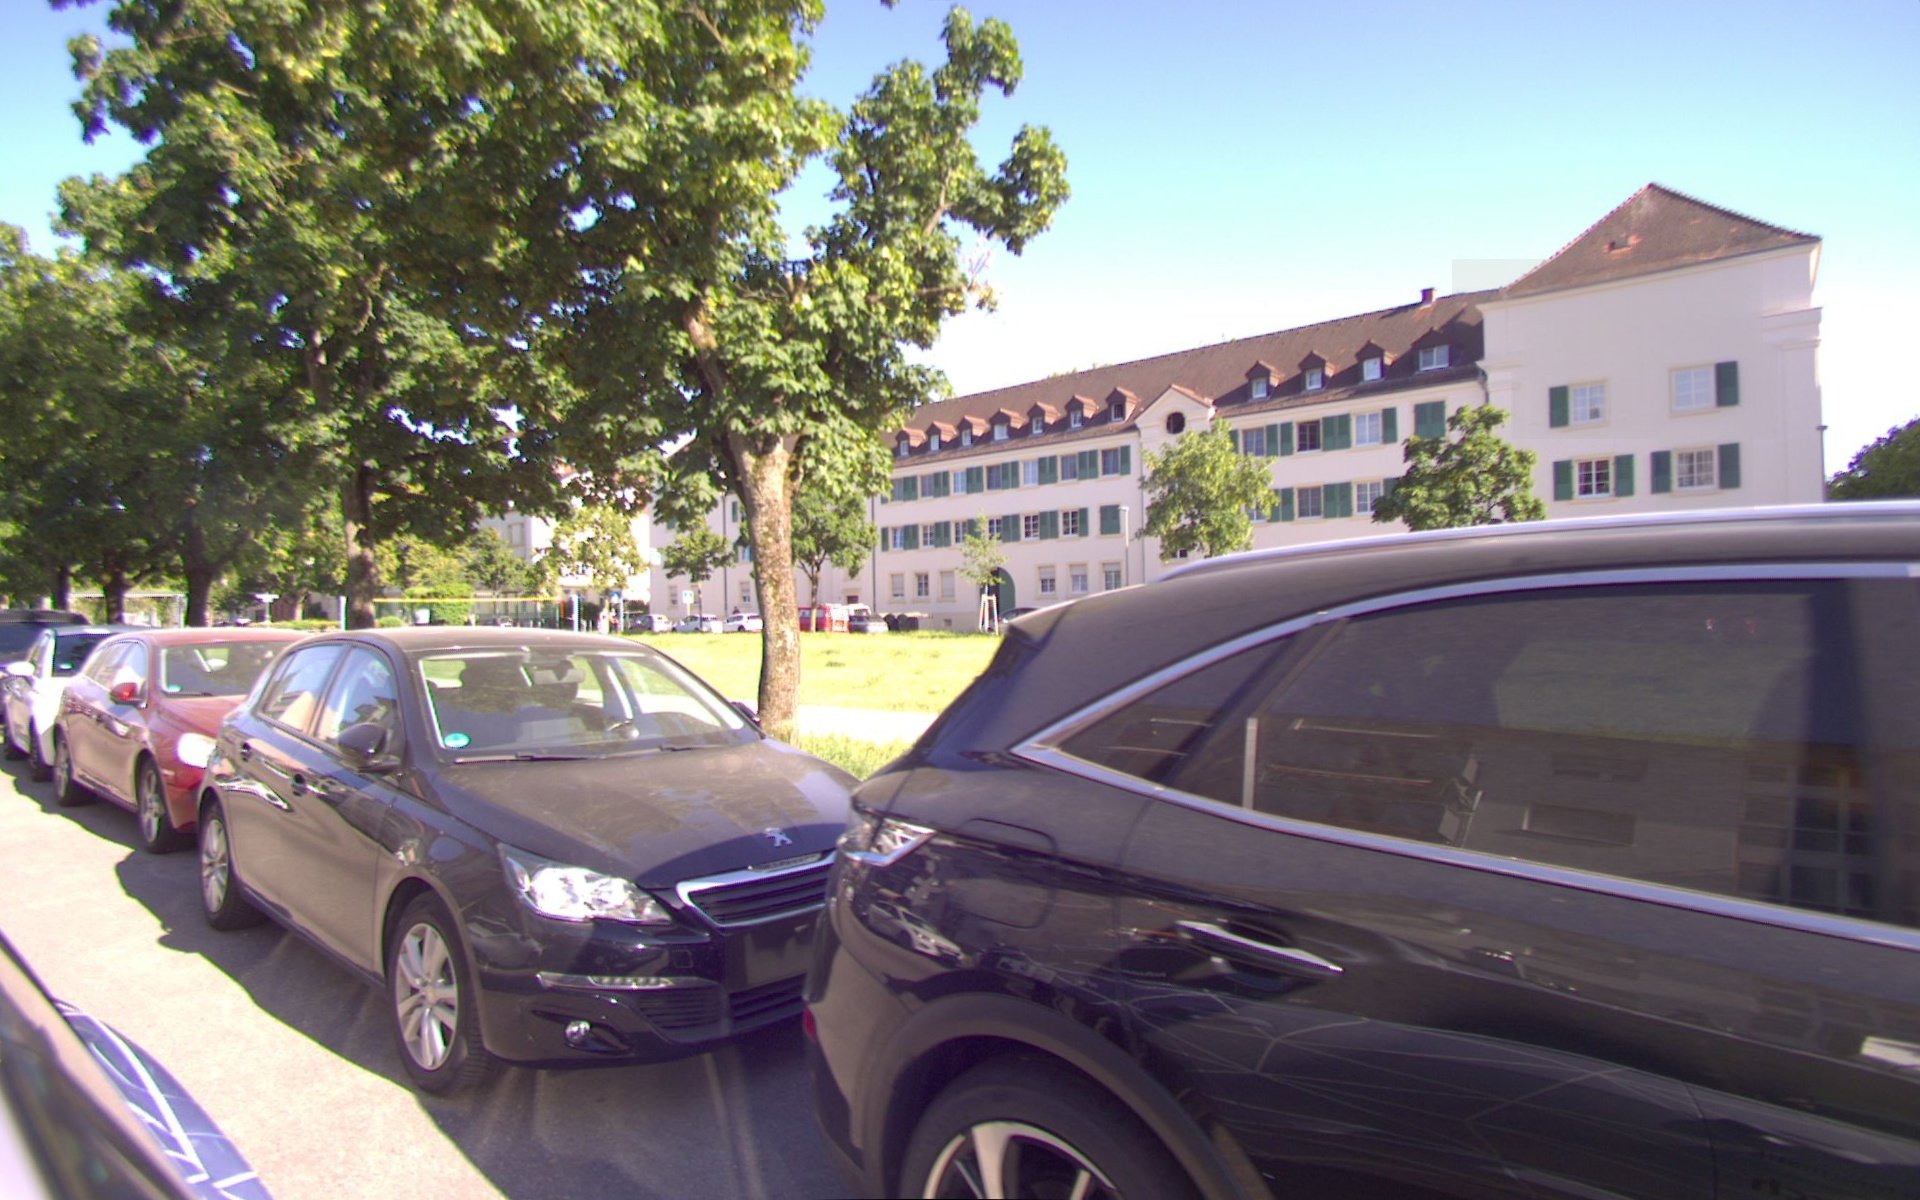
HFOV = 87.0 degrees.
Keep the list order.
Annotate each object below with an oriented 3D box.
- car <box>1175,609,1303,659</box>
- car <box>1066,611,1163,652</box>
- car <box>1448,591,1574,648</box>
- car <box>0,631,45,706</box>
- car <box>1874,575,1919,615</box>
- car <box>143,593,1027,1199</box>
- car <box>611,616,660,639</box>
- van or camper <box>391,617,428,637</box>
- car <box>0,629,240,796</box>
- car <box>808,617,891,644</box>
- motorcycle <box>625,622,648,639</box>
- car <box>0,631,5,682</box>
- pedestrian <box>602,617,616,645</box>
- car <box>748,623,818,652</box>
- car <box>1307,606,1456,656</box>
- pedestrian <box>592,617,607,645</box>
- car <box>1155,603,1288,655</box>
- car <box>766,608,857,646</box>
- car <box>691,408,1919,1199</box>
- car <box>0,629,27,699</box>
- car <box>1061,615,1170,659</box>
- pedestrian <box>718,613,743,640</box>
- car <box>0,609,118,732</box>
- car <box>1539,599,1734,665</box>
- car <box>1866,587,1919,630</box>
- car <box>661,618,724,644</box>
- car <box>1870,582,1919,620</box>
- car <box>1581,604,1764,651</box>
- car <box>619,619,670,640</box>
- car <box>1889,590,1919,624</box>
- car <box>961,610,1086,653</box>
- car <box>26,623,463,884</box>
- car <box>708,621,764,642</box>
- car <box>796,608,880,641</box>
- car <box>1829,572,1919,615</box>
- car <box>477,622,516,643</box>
[{"bbox_3d":[10.865,1.320,39.534,4.254,1.834,2.213,-2,-1,40],"label":"car"},{"bbox_3d":[7.582,1.530,49.847,4.164,1.919,2.240,-2,-1,41],"label":"car"},{"bbox_3d":[20.666,0.715,38.050,3.895,2.029,1.648,-1,-1,41],"label":"car"},{"bbox_3d":[-20.237,1.377,20.992,4.087,1.439,1.521,-2,-1,43],"label":"car"},{"bbox_3d":[38.092,-0.224,39.354,3.610,1.532,1.687,-2,-1,38],"label":"car"},{"bbox_3d":[-2.025,0.831,4.609,4.468,1.531,1.854,-2,-3,41],"label":"car"},{"bbox_3d":[-29.570,2.471,92.364,2.043,1.970,3.761,-2,-1,43],"label":"car"},{"bbox_3d":[-59.661,2.920,109.631,4.373,2.029,2.243,-1,0,42],"label":"van or camper"},{"bbox_3d":[-9.262,1.077,10.927,3.683,1.504,1.570,-2,-3,41],"label":"car"},{"bbox_3d":[-6.426,1.761,58.389,4.956,1.496,1.973,-2,-2,41],"label":"car"},{"bbox_3d":[-26.962,2.545,84.396,2.143,1.315,0.807,-2,-1,40],"label":"motorcycle"},{"bbox_3d":[-29.007,1.611,29.187,3.803,1.429,1.860,-1,-1,43],"label":"car"},{"bbox_3d":[-21.468,1.901,61.903,0.537,1.698,0.674,0,-1,-43],"label":"pedestrian"},{"bbox_3d":[-11.678,2.444,66.646,4.640,1.777,1.973,-2,-1,40],"label":"car"},{"bbox_3d":[17.121,1.258,41.284,5.157,1.900,2.131,-2,-1,42],"label":"car"},{"bbox_3d":[-21.849,1.864,61.288,0.750,1.698,0.537,-2,-1,44],"label":"pedestrian"},{"bbox_3d":[11.889,1.306,46.198,5.253,2.233,2.505,-2,-1,40],"label":"car"},{"bbox_3d":[-8.402,1.511,56.835,5.256,1.999,2.197,-2,-1,42],"label":"car"},{"bbox_3d":[1.764,0.647,1.307,4.737,1.622,1.800,-2,-3,42],"label":"car"},{"bbox_3d":[-24.857,1.564,25.223,4.757,1.638,2.003,-2,-2,43],"label":"car"},{"bbox_3d":[6.632,1.568,43.317,4.009,1.763,2.292,-2,-1,43],"label":"car"},{"bbox_3d":[-16.948,1.972,74.650,1.161,1.978,1.327,-2,-1,36],"label":"pedestrian"},{"bbox_3d":[-15.717,1.072,16.924,4.990,1.798,1.844,-1,-1,42],"label":"car"},{"bbox_3d":[20.533,0.961,30.812,4.701,1.834,2.136,-2,-1,40],"label":"car"},{"bbox_3d":[39.600,0.320,40.974,4.238,1.714,1.684,-2,-1,39],"label":"car"},{"bbox_3d":[-16.986,1.962,64.126,4.233,1.595,1.770,-2,-1,41],"label":"car"},{"bbox_3d":[47.235,0.032,49.620,3.707,1.848,1.931,-2,-1,38],"label":"car"},{"bbox_3d":[24.344,0.951,34.687,4.956,1.496,1.973,-2,-2,41],"label":"car"},{"bbox_3d":[-21.086,1.977,67.561,3.513,1.343,1.633,-2,-1,41],"label":"car"},{"bbox_3d":[44.327,0.290,45.478,3.610,1.532,1.837,-2,-1,38],"label":"car"},{"bbox_3d":[2.866,1.420,46.702,5.454,1.834,2.423,-2,-1,43],"label":"car"},{"bbox_3d":[-5.875,0.962,8.055,4.665,1.503,1.737,-2,-3,41],"label":"car"},{"bbox_3d":[-15.580,2.165,70.235,3.998,1.366,1.750,-2,-1,41],"label":"car"},{"bbox_3d":[-7.683,1.537,63.285,5.253,1.999,2.198,-2,-1,40],"label":"car"},{"bbox_3d":[56.629,-0.390,61.997,4.949,2.538,1.931,-2,-1,38],"label":"car"},{"bbox_3d":[-43.540,3.046,95.072,4.000,1.807,1.929,-2,-1,43],"label":"car"}]
